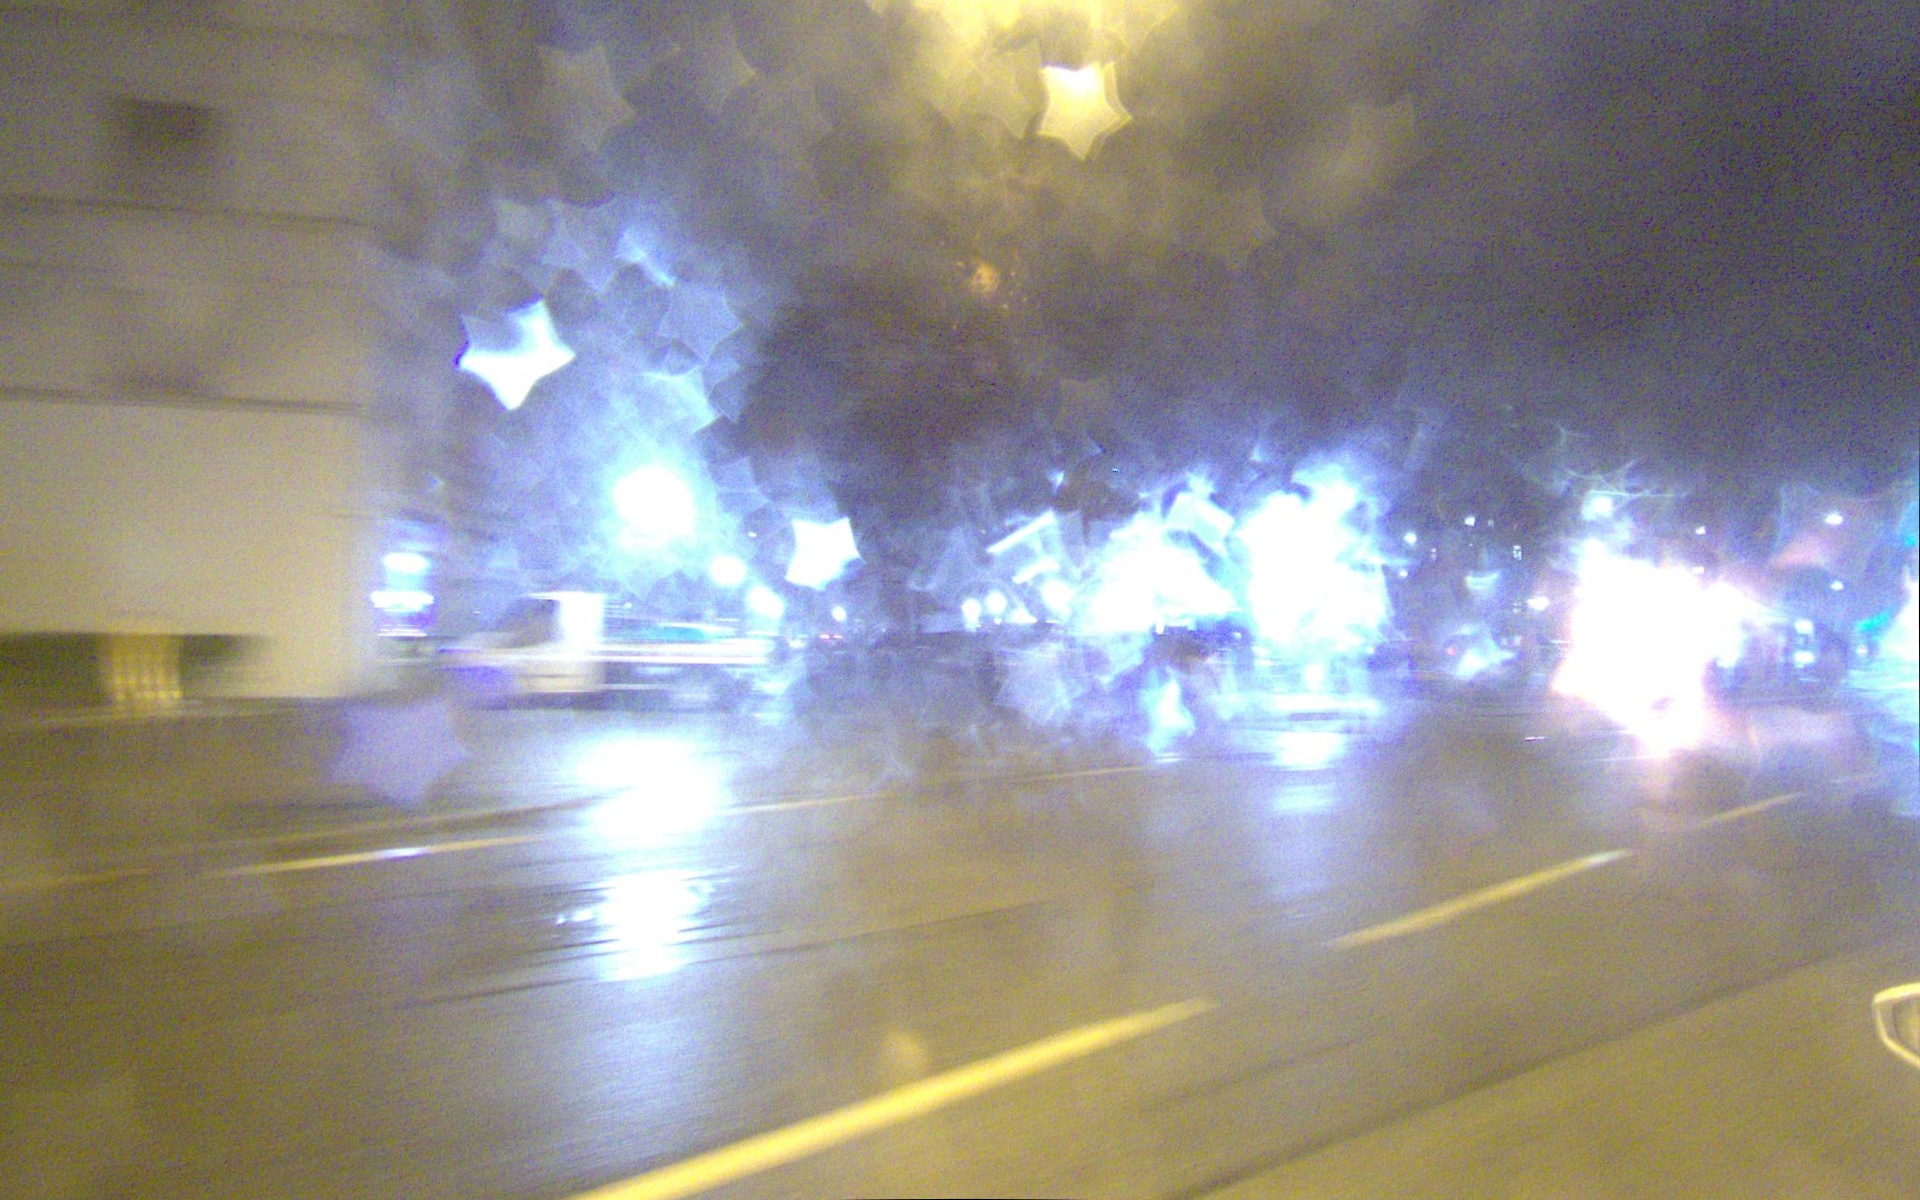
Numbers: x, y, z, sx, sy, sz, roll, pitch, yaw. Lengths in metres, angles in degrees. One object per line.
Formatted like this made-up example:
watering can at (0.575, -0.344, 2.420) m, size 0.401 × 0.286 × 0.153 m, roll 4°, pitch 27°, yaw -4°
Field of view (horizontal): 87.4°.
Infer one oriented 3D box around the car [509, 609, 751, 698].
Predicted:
car at (-6.560, 1.076, 20.450) m, size 4.414 × 1.634 × 1.867 m, roll 2°, pitch -2°, yaw -11°

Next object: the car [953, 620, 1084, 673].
car at (1.836, 1.478, 31.992) m, size 3.848 × 1.540 × 1.716 m, roll 2°, pitch -1°, yaw -10°

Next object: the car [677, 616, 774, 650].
car at (-11.243, 1.586, 48.504) m, size 4.414 × 1.462 × 1.867 m, roll 2°, pitch -2°, yaw -11°

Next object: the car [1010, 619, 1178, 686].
car at (3.344, 1.300, 25.327) m, size 3.848 × 1.540 × 1.716 m, roll 2°, pitch -1°, yaw -10°

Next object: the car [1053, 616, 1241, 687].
car at (4.216, 1.164, 22.905) m, size 3.848 × 1.450 × 1.716 m, roll 2°, pitch -2°, yaw -10°

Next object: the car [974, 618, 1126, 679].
car at (2.449, 1.330, 27.747) m, size 3.848 × 1.540 × 1.716 m, roll 2°, pitch -1°, yaw -10°

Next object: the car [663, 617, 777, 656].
car at (-9.794, 1.499, 41.294) m, size 4.414 × 1.462 × 1.867 m, roll 2°, pitch -2°, yaw -11°

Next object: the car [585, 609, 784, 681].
car at (-6.526, 1.078, 24.275) m, size 4.414 × 1.560 × 1.867 m, roll 2°, pitch -2°, yaw -11°

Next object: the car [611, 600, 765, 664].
car at (-8.332, 1.002, 31.183) m, size 4.414 × 1.783 × 1.867 m, roll 2°, pitch -1°, yaw -11°

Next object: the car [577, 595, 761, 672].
car at (-7.522, 0.889, 26.382) m, size 4.414 × 1.818 × 1.867 m, roll 2°, pitch -1°, yaw -11°

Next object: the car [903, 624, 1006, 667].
car at (-0.246, 1.784, 39.765) m, size 3.848 × 1.540 × 1.716 m, roll 2°, pitch -1°, yaw -10°

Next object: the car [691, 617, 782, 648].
car at (-11.433, 1.658, 51.605) m, size 4.414 × 1.462 × 1.867 m, roll 2°, pitch -2°, yaw -11°

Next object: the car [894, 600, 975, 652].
car at (-1.440, 1.465, 56.525) m, size 4.277 × 2.767 × 1.716 m, roll 2°, pitch -1°, yaw -10°

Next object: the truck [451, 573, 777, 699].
truck at (-5.908, 0.665, 17.886) m, size 5.169 × 2.040 × 2.126 m, roll 1°, pitch -1°, yaw -11°
